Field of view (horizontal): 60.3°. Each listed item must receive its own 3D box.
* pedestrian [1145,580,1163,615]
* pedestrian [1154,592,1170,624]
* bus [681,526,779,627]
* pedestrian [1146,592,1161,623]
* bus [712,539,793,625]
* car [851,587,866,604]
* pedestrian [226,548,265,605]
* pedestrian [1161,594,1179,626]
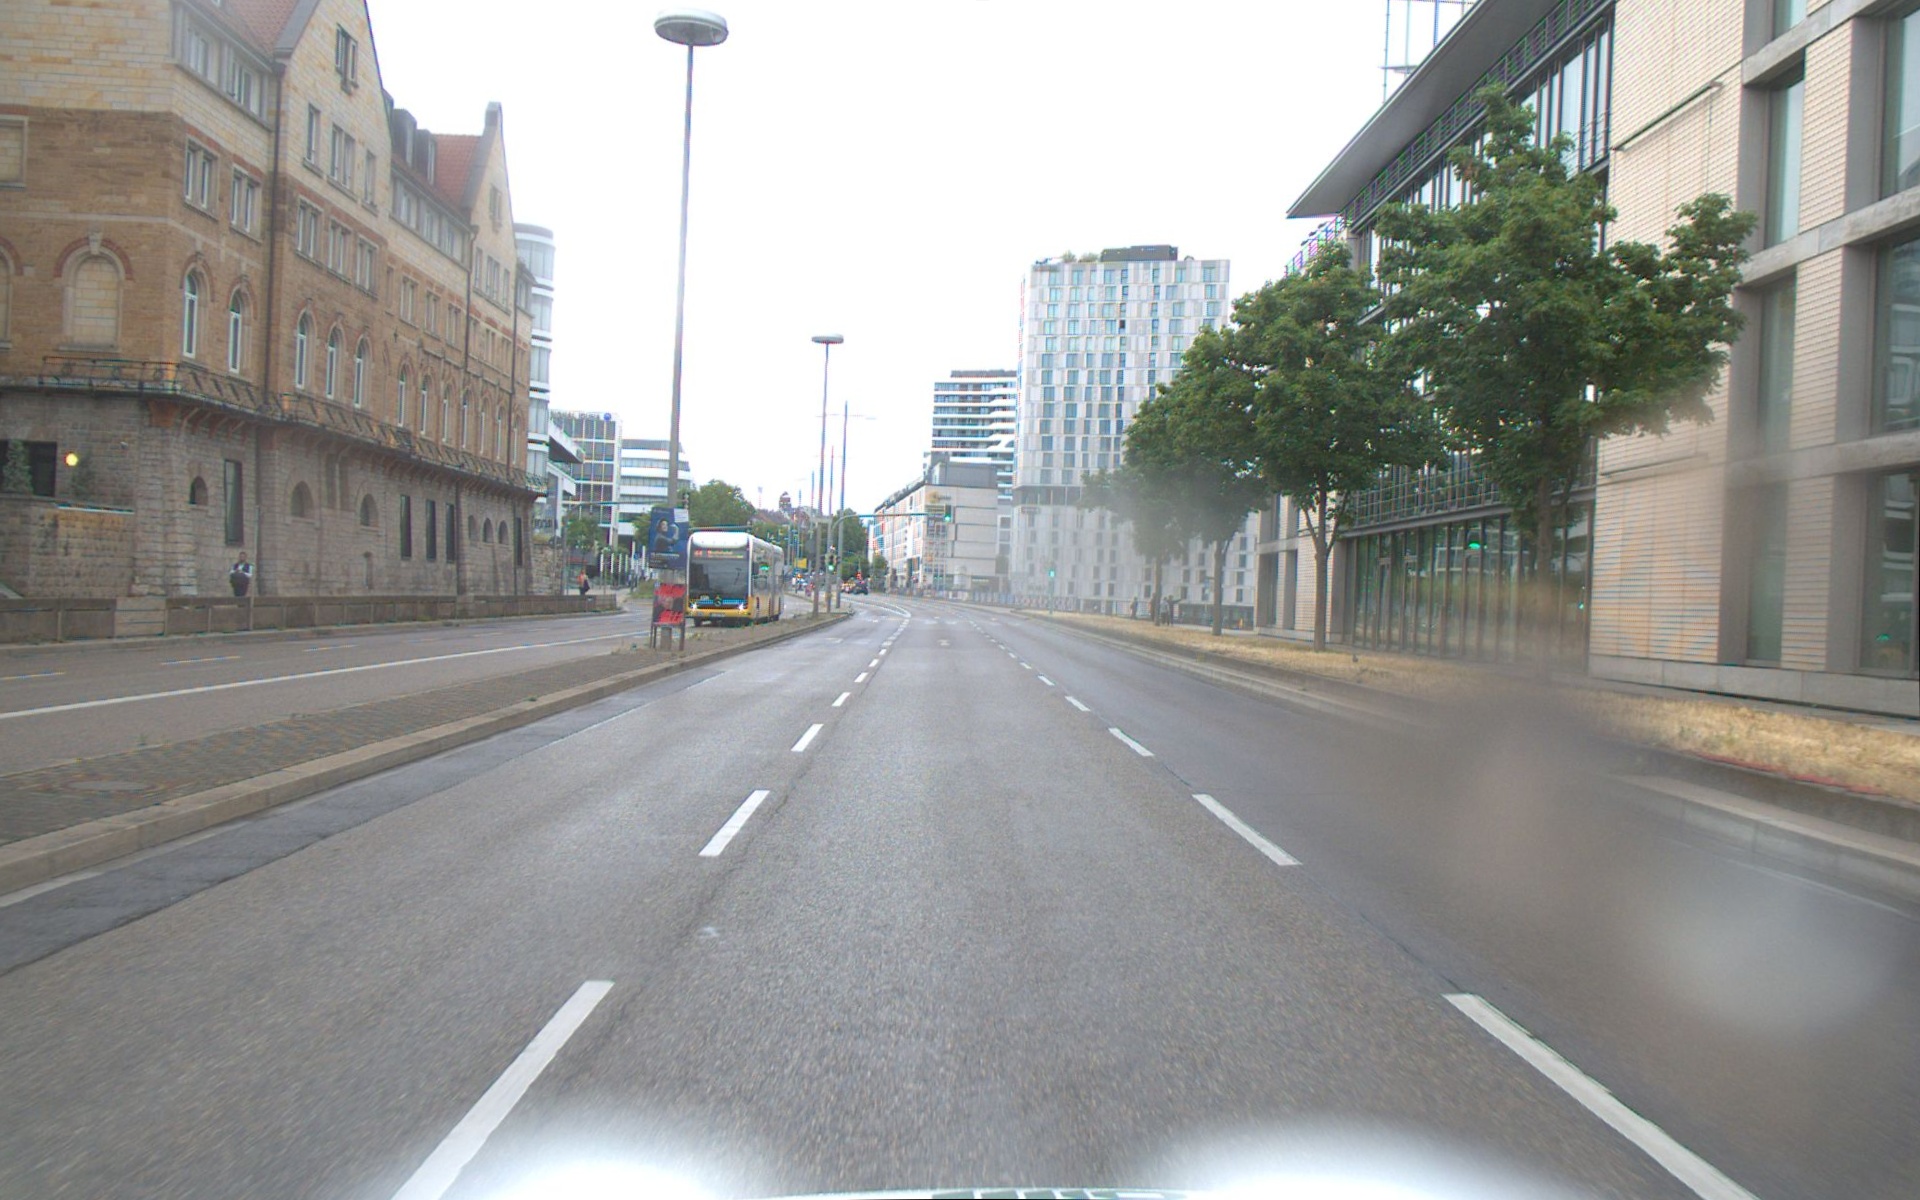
[{"bbox_3d":[10.422,-0.149,88.891,0.777,1.873,0.542,-1,2,-45],"label":"pedestrian"},{"bbox_3d":[10.541,0.420,86.383,0.540,1.605,0.669,2,2,33],"label":"pedestrian"},{"bbox_3d":[-8.923,-0.893,65.174,2.644,3.621,10.090,1,0,-2],"label":"bus"},{"bbox_3d":[10.375,0.405,88.869,0.540,1.605,0.669,2,2,33],"label":"pedestrian"},{"bbox_3d":[-9.378,-0.854,75.806,2.644,3.621,10.091,1,1,-2],"label":"bus"},{"bbox_3d":[-15.738,-0.701,257.322,1.955,2.382,3.999,-8,1,-2],"label":"car"},{"bbox_3d":[-19.232,-0.645,44.525,0.739,1.503,0.714,1,2,-2],"label":"pedestrian"},{"bbox_3d":[11.068,0.522,87.071,0.657,1.605,0.666,2,2,37],"label":"pedestrian"}]
